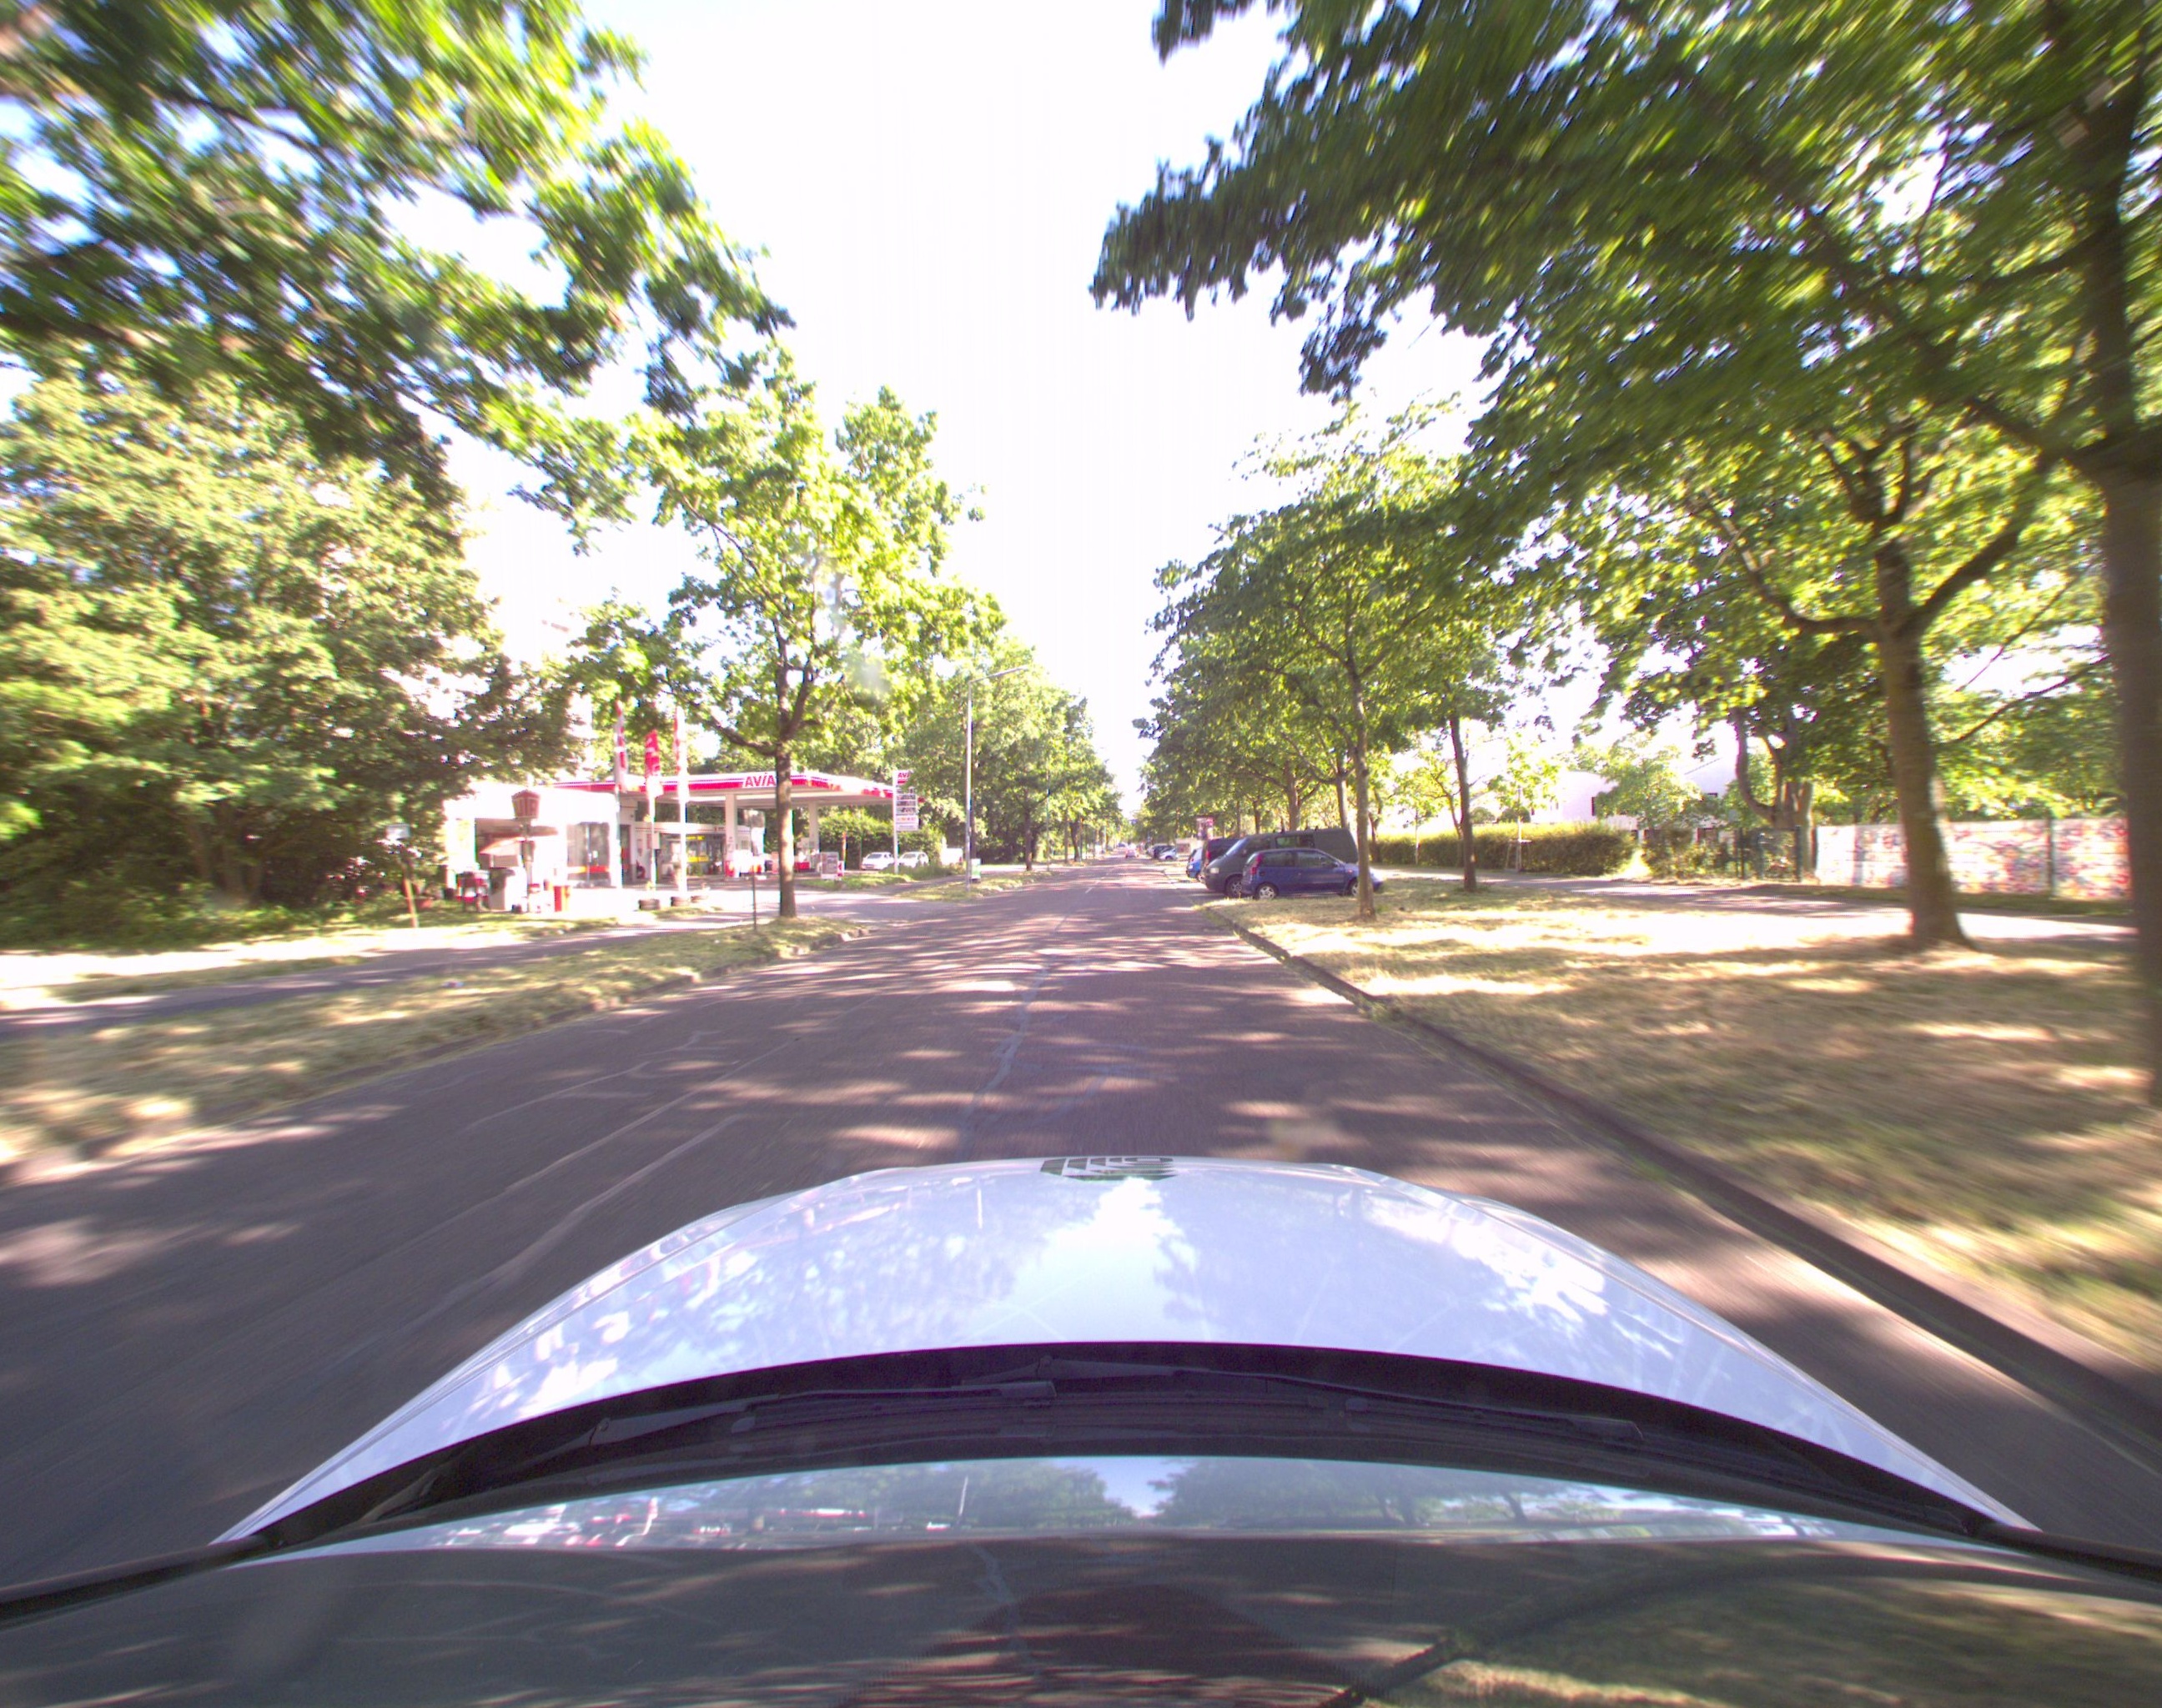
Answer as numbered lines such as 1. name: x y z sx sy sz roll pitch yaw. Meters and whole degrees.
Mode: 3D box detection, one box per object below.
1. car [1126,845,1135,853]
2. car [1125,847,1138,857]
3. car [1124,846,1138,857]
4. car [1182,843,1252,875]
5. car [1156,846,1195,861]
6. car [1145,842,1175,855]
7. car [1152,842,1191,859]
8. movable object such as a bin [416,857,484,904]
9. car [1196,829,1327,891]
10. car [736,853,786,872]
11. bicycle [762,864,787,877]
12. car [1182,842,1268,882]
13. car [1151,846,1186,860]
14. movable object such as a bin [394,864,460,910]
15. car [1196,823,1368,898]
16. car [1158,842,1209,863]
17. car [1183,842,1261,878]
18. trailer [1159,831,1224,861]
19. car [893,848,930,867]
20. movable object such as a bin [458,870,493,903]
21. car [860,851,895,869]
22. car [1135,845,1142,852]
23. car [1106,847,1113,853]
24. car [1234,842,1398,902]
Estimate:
1. car: 12.162 -1.257 200.501 1.985 1.933 4.003 -1 0 3
2. car: 8.754 -0.407 140.250 1.987 1.655 4.000 -1 0 1
3. car: 7.622 -0.374 124.847 1.986 1.484 4.002 -1 0 2
4. car: 7.478 0.265 45.168 3.569 1.576 1.859 -3 0 2
5. car: 10.432 -0.060 90.450 4.225 1.519 2.081 -3 0 4
6. car: 13.960 -0.908 144.459 5.167 2.105 2.083 -2 0 2
7. car: 10.754 -0.408 97.115 4.510 1.801 1.938 -3 0 3
8. movable object such as a bin: -21.749 0.895 28.099 1.298 1.542 1.269 -1 0 4
9. car: 6.038 0.197 27.623 3.995 1.837 1.799 -3 0 1
10. car: -24.307 0.636 61.852 3.174 1.400 1.590 0 1 11
11. bicycle: -21.385 1.157 56.904 0.612 0.807 1.788 -1 0 18
12. car: 6.232 0.326 35.604 3.504 1.532 1.667 -3 0 5
13. car: 12.010 -0.169 111.488 4.650 1.580 1.919 -3 0 4
14. movable object such as a bin: -22.486 1.112 28.016 1.298 1.542 1.165 0 0 4
15. car: 6.076 0.188 25.060 4.783 2.032 1.945 -2 0 3
16. car: 9.707 -0.115 77.593 4.621 1.722 1.990 -3 0 4
17. car: 6.918 0.282 40.189 3.566 1.576 1.789 -3 0 5
18. trailer: 10.137 -0.725 74.716 5.746 2.317 1.689 -3 0 5
19. car: -13.268 0.252 63.963 1.536 1.422 3.498 0 1 12
20. movable object such as a bin: -20.763 1.109 27.945 0.566 1.085 0.769 -1 0 4
21. car: -15.946 0.451 63.959 1.413 1.367 3.215 0 1 12
22. car: 15.629 -1.460 221.323 1.985 1.716 4.003 -1 0 3
23. car: 7.952 -1.192 227.865 1.985 1.716 4.003 -1 0 3
24. car: 6.327 0.467 22.229 3.972 1.403 1.741 -2 0 3
